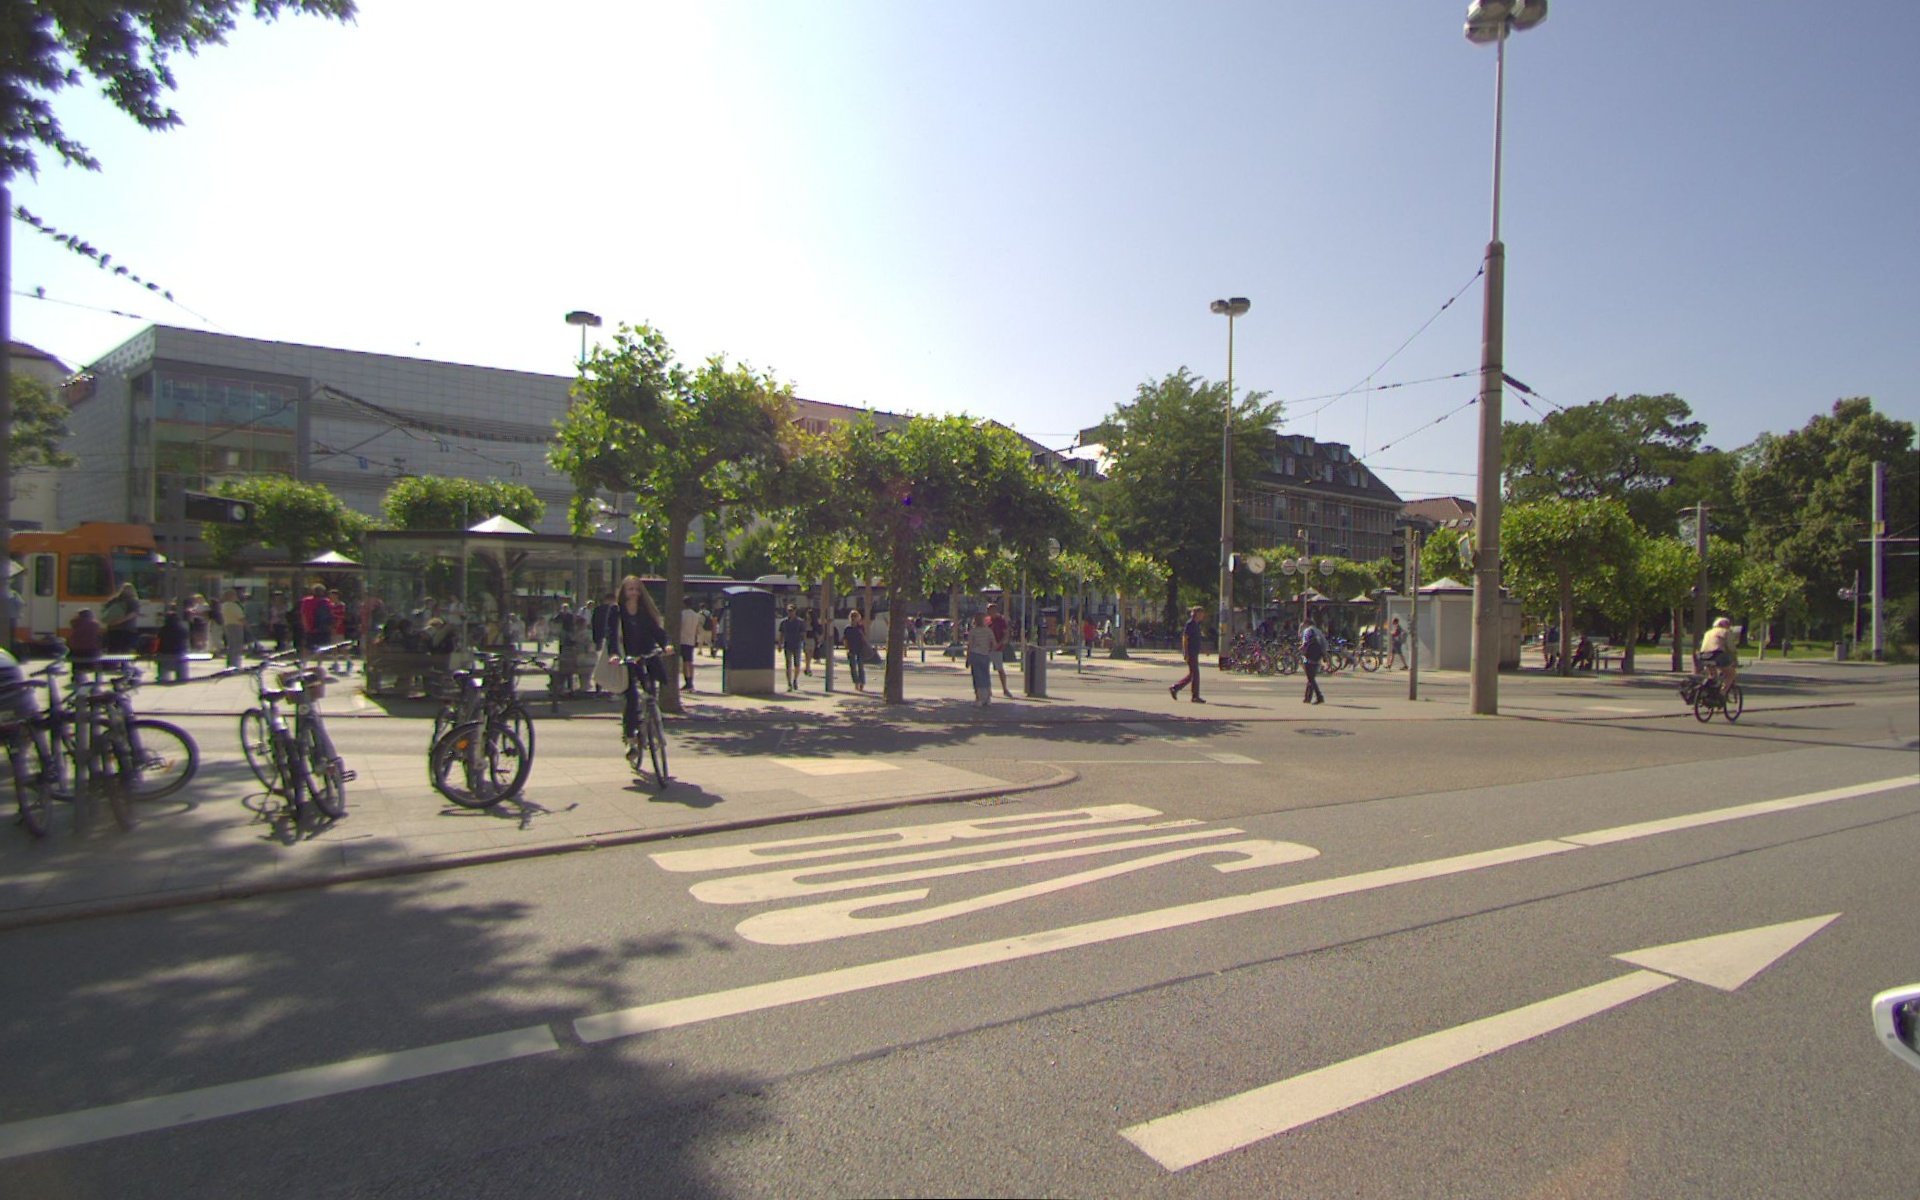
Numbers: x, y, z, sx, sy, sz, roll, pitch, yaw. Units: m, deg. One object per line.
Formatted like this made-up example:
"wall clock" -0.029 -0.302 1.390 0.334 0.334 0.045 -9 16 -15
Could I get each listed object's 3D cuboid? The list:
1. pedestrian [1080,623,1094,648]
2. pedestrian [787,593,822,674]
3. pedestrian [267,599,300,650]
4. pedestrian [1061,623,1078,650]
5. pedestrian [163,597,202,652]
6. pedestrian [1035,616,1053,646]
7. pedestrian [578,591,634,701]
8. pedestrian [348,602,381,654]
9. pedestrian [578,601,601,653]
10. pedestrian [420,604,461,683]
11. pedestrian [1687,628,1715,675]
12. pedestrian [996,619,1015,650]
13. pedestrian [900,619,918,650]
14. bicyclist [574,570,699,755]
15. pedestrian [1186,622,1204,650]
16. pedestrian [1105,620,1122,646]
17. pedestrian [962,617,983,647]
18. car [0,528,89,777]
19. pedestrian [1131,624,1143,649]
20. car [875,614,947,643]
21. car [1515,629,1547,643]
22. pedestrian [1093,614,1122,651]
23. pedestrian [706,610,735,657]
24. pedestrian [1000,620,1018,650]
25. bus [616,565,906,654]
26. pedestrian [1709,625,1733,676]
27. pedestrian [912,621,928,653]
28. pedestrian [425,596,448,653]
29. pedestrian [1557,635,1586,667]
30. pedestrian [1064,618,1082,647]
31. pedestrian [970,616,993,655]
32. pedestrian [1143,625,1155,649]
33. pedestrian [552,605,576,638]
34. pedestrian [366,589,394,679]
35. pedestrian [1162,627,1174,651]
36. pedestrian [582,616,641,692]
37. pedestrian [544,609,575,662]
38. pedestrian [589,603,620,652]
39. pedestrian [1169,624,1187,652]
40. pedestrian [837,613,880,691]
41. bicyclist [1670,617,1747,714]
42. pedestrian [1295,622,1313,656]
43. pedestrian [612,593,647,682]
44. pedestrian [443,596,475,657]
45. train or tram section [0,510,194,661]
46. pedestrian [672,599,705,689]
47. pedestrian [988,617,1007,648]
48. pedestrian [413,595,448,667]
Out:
"pedestrian" 6.609 1.833 52.280 0.447 1.279 0.515 0 -2 -27
"pedestrian" -4.002 0.852 25.826 0.560 2.034 0.685 1 0 -40
"pedestrian" -20.986 0.763 31.172 0.569 1.569 0.678 -2 -2 35
"pedestrian" 5.445 1.817 49.913 0.573 1.280 0.620 0 -2 -22
"pedestrian" -22.798 0.727 29.461 0.667 1.569 0.578 -1 -2 -5
"pedestrian" 4.303 1.581 51.334 0.672 1.484 0.621 0 -2 -27
"pedestrian" -6.023 0.782 17.105 0.612 1.818 0.681 -1 -2 17
"pedestrian" -18.248 0.872 30.780 0.569 1.569 0.678 -2 -2 35
"pedestrian" -12.158 0.893 32.978 0.465 1.687 0.520 -2 -2 37
"pedestrian" -9.885 0.825 19.125 0.545 1.484 0.589 -1 -2 -10
"pedestrian" 26.190 1.803 35.506 0.617 1.630 0.524 0 -2 -22
"pedestrian" 2.212 1.665 48.939 0.674 1.484 0.619 1 -2 -36
"pedestrian" -2.502 1.688 49.083 0.672 1.484 0.620 0 -2 -29
"bicyclist" -2.915 0.514 8.992 0.822 1.518 1.151 1 1 -30
"pedestrian" 12.526 1.942 53.569 0.672 1.484 0.621 0 -2 -27
"pedestrian" 7.713 1.643 50.470 0.573 1.280 0.620 0 -2 -22
"pedestrian" 0.645 1.639 51.529 0.735 1.484 0.782 1 -2 -36
"car" -10.294 0.349 7.788 4.976 2.041 1.996 2 1 -10
"pedestrian" 9.359 1.936 53.046 0.445 1.279 0.517 0 -2 -15
"car" -2.881 1.675 59.274 3.964 1.528 1.742 1 1 -38
"car" 66.962 4.189 117.774 3.964 1.528 1.742 1 1 -38
"pedestrian" 7.386 1.643 50.214 1.065 1.817 0.963 0 -2 -22
"pedestrian" -7.662 1.083 32.110 0.671 1.484 0.621 -3 -3 43
"pedestrian" 2.450 1.734 50.335 0.674 1.484 0.618 1 -2 -38
"bus" -8.758 0.434 45.054 12.244 3.465 3.059 2 1 -13
"pedestrian" 26.456 1.741 34.915 0.517 1.756 0.587 -2 -2 29
"pedestrian" -1.845 1.713 46.417 0.554 1.484 0.584 0 -2 -23
"pedestrian" -16.371 0.772 31.417 0.550 1.741 0.464 -2 -2 37
"pedestrian" 23.191 1.929 38.101 0.746 1.186 0.670 1 -2 -37
"pedestrian" 5.821 1.673 51.563 0.672 1.484 0.621 0 -2 -27
"pedestrian" 0.825 1.369 38.431 0.616 1.484 0.676 0 -2 -25
"pedestrian" 10.038 1.957 53.295 0.445 1.279 0.517 0 -2 -15
"pedestrian" -19.255 1.069 48.873 0.669 1.569 0.846 -2 -2 32
"pedestrian" -11.824 0.695 20.473 0.480 1.801 0.522 0 -2 -32
"pedestrian" 11.041 2.056 53.350 0.445 1.279 0.517 0 -2 -15
"pedestrian" -6.520 1.014 18.806 0.787 1.389 0.681 -1 -2 15
"pedestrian" -12.505 1.114 31.375 0.615 1.619 0.678 -2 -2 37
"pedestrian" -11.082 0.862 31.291 0.615 1.521 0.678 -2 -2 37
"pedestrian" 11.640 2.015 53.651 0.670 1.485 0.622 1 0 -18
"pedestrian" -2.074 1.058 20.514 0.673 1.544 0.620 0 -2 -31
"bicyclist" 13.149 1.132 17.649 0.892 1.643 0.813 0 -1 -31
"pedestrian" 15.187 1.710 44.373 0.667 1.484 0.625 -2 -2 22
"pedestrian" -6.929 0.787 21.054 0.598 1.839 0.573 0 -2 -32
"pedestrian" -15.122 0.806 30.322 0.615 1.818 0.678 -2 -2 37
"train or tram section" -26.898 -0.525 27.899 9.329 3.878 2.622 2 1 2
"pedestrian" -5.299 0.855 19.604 0.503 1.741 0.479 0 -2 -31
"pedestrian" 1.796 1.564 47.932 0.673 1.484 0.619 0 -2 -34
"pedestrian" -13.158 0.771 24.963 0.552 1.753 0.587 -2 -2 37
